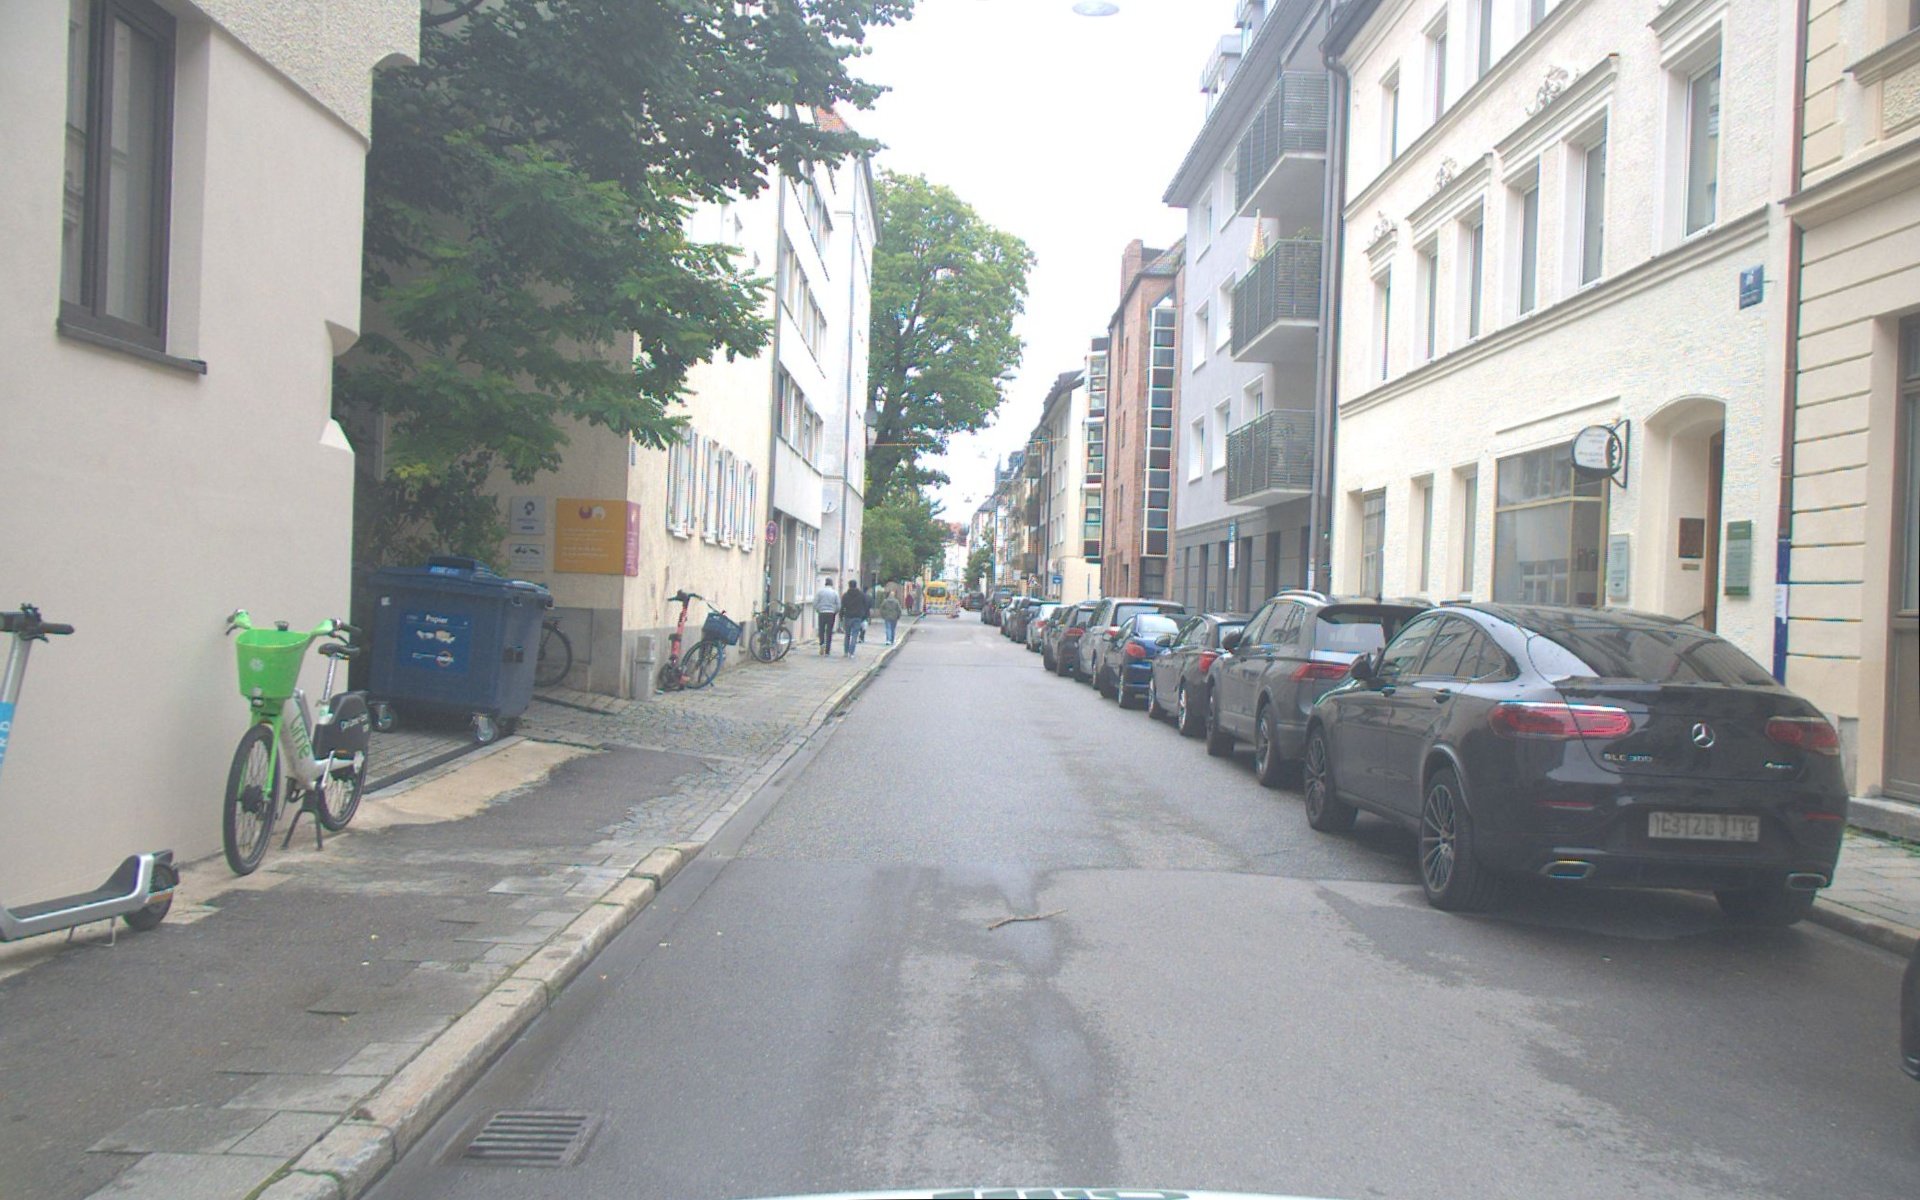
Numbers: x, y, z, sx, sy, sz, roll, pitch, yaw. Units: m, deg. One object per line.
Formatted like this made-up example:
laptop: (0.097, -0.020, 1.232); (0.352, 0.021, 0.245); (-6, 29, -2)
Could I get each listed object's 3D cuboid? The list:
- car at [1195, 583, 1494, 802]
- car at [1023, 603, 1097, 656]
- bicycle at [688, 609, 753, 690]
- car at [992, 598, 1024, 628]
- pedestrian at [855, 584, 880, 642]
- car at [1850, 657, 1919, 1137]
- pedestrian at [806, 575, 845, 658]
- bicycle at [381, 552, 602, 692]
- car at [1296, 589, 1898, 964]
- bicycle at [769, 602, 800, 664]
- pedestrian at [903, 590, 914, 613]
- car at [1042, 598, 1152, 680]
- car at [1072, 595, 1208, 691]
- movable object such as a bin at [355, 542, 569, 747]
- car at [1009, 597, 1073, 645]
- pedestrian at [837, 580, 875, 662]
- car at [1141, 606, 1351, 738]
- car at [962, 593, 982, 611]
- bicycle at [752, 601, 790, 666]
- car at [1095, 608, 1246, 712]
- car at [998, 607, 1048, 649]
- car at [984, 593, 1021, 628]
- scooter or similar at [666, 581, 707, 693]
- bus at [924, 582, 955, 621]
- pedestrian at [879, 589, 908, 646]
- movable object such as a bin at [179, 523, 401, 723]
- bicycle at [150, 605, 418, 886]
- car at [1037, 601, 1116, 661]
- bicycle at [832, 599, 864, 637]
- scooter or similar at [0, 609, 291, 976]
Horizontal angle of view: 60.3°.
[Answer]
car: (3.405, 0.734, 15.512); (1.642, 1.690, 4.512); (2, 0, -1)
car: (2.978, 0.850, 50.022); (1.799, 1.442, 4.599); (3, 0, -2)
bicycle: (-3.343, 0.673, 23.192); (0.690, 1.001, 1.821); (6, -1, -5)
car: (2.660, 0.706, 91.990); (1.591, 1.513, 3.808); (3, 0, 0)
pedestrian: (-2.833, 0.395, 50.798); (0.600, 1.743, 0.823); (4, -1, -1)
car: (3.729, 0.933, 3.294); (1.642, 1.417, 4.065); (2, 0, -1)
pedestrian: (-3.035, 0.371, 37.347); (0.704, 1.828, 0.916); (4, -1, 0)
bicycle: (-5.074, 0.238, 17.974); (2.156, 1.321, 0.514); (5, 0, -2)
car: (3.366, 0.795, 9.832); (1.667, 1.635, 4.684); (2, 0, -1)
bicycle: (-3.514, 0.639, 33.048); (0.551, 1.179, 1.718); (2, 0, -6)
pedestrian: (-3.418, 0.090, 109.872); (0.740, 1.517, 0.831); (1, -1, -1)
car: (2.832, 0.777, 35.003); (1.802, 1.555, 4.291); (3, 0, -2)
car: (3.199, 0.728, 30.123); (1.838, 1.598, 4.314); (1, 0, -2)
movable object such as a bin: (-4.059, 0.337, 13.593); (1.150, 1.466, 1.249); (7, 1, 5)
car: (2.882, 0.715, 59.869); (1.848, 1.582, 4.389); (3, 0, -3)
pedestrian: (-2.352, 0.466, 37.584); (0.704, 1.796, 0.838); (4, -1, -1)
car: (3.435, 0.815, 20.670); (1.763, 1.410, 4.348); (1, 0, -1)
car: (1.281, 0.204, 174.037); (1.766, 1.741, 3.825); (6, 0, -2)
bicycle: (-3.572, 0.625, 31.331); (0.448, 1.179, 1.605); (4, -1, 0)
car: (3.122, 0.854, 25.202); (1.771, 1.387, 3.945); (1, 0, 0)
car: (2.664, 1.166, 70.543); (1.713, 1.658, 4.194); (2, 0, -3)
car: (2.456, 0.599, 96.348); (1.766, 1.851, 3.998); (6, 0, -3)
scooter or similar: (-3.545, 0.468, 21.458); (0.311, 1.400, 1.239); (1, -1, -1)
bus: (-1.772, 0.150, 142.211); (2.540, 3.156, 6.305); (1, 0, 0)
pedestrian: (-2.044, 0.530, 51.084); (0.738, 1.688, 0.906); (4, -1, -1)
movable object such as a bin: (-5.451, 0.168, 13.562); (1.151, 1.428, 1.249); (7, 1, 1)
bicycle: (-3.243, 0.637, 8.127); (0.533, 1.181, 1.881); (4, 0, -2)
car: (3.150, 0.815, 45.425); (1.710, 1.487, 4.149); (3, 0, -2)
bicycle: (-3.796, 0.604, 56.008); (0.631, 1.239, 1.655); (1, -1, -19)
scooter or similar: (-3.175, 0.640, 6.063); (0.540, 1.163, 1.359); (4, 0, 16)
